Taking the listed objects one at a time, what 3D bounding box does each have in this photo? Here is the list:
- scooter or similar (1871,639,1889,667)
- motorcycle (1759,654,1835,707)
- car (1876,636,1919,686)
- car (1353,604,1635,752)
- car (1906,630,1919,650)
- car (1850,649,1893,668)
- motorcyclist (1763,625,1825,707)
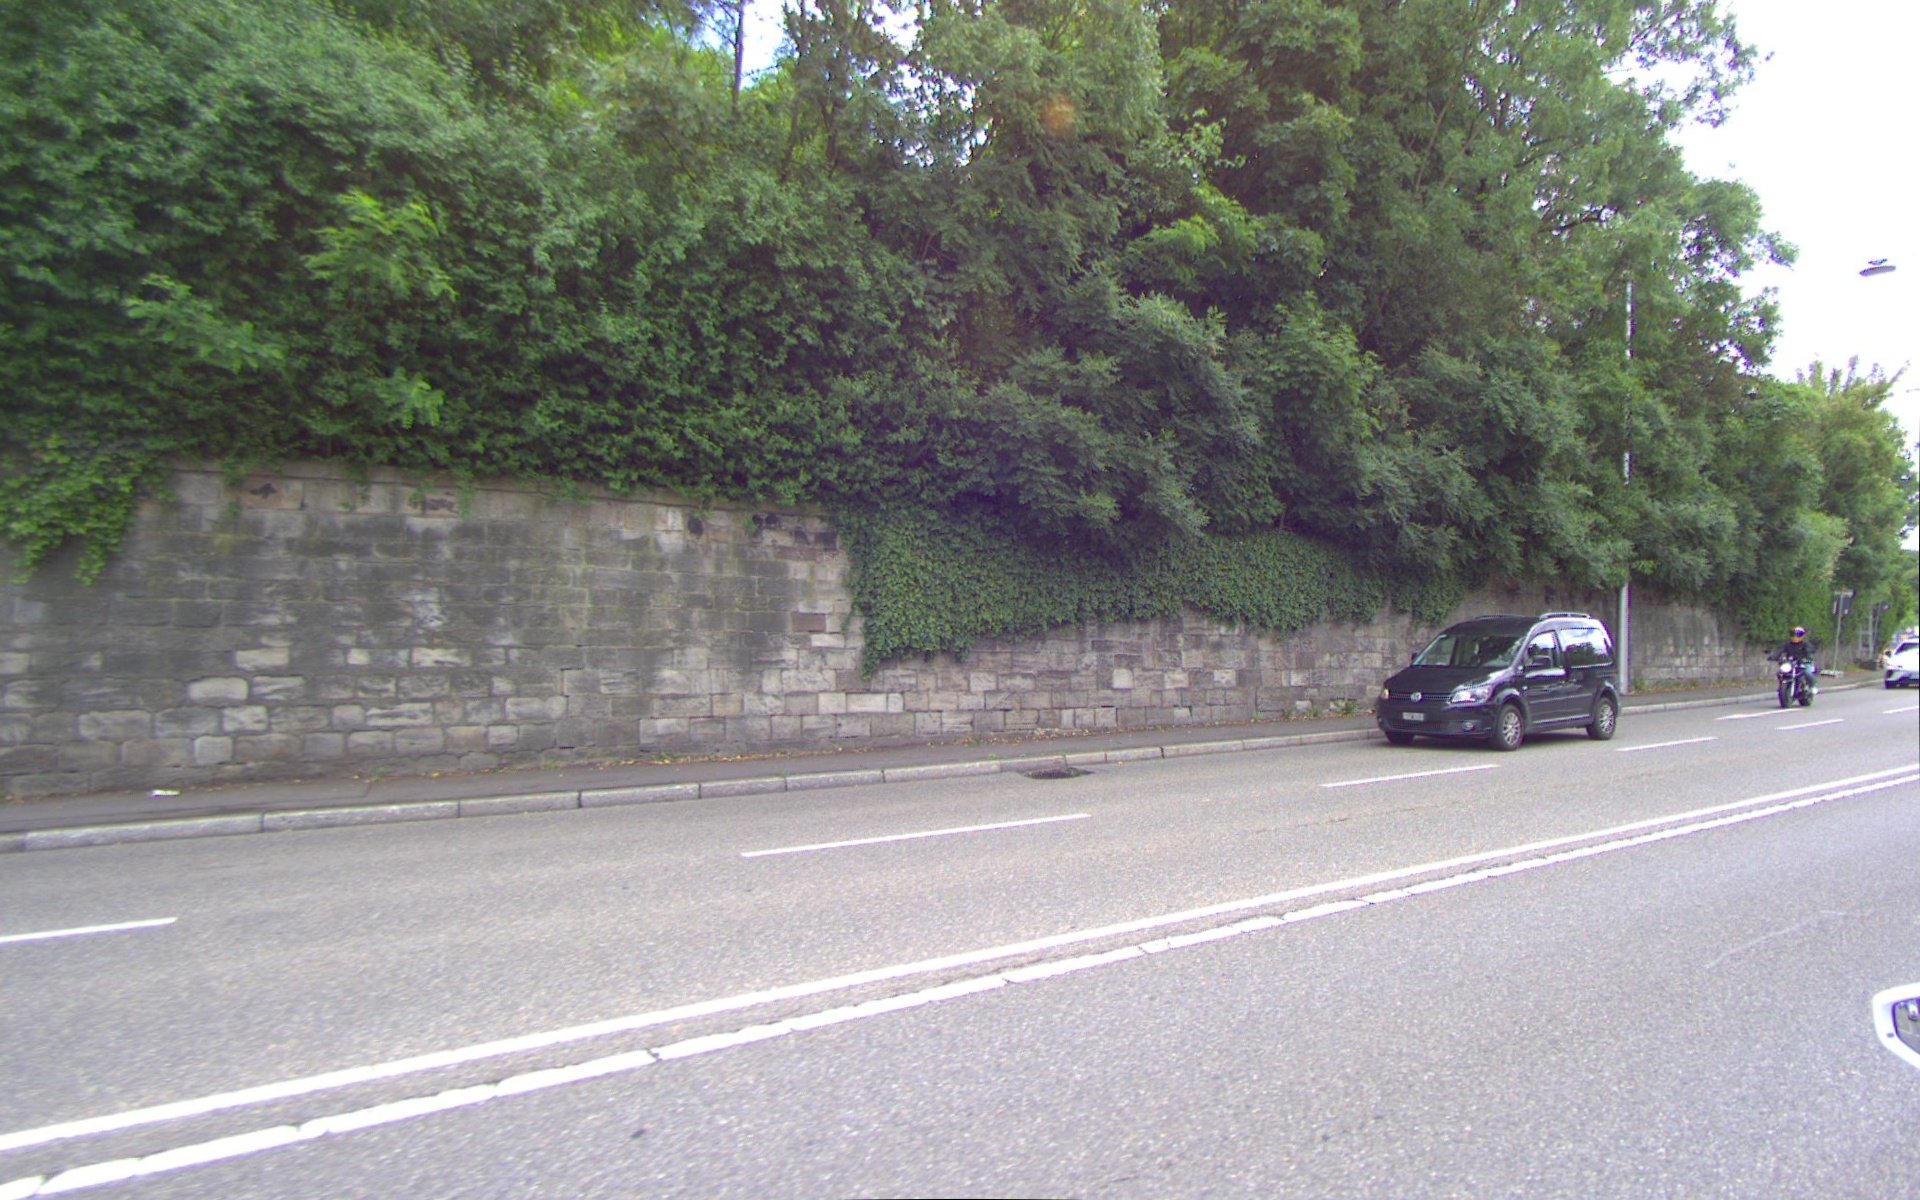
[{"bbox_3d":[41.602,2.384,45.433,0.531,1.221,1.273,3,1,41],"label":"scooter or similar"},{"bbox_3d":[18.343,1.743,21.997,2.284,1.087,0.646,1,-3,-34],"label":"motorcycle"},{"bbox_3d":[30.050,1.876,31.220,4.067,1.485,1.768,2,-4,-40],"label":"car"},{"bbox_3d":[7.790,1.076,14.559,4.203,1.869,1.734,1,-4,-33],"label":"car"},{"bbox_3d":[83.680,3.473,87.071,1.816,1.722,3.988,-1,-2,34],"label":"car"},{"bbox_3d":[72.161,4.629,79.553,1.869,1.400,3.990,-1,-2,33],"label":"car"},{"bbox_3d":[18.301,1.433,22.030,1.324,1.727,0.645,1,-3,-34],"label":"motorcyclist"}]
